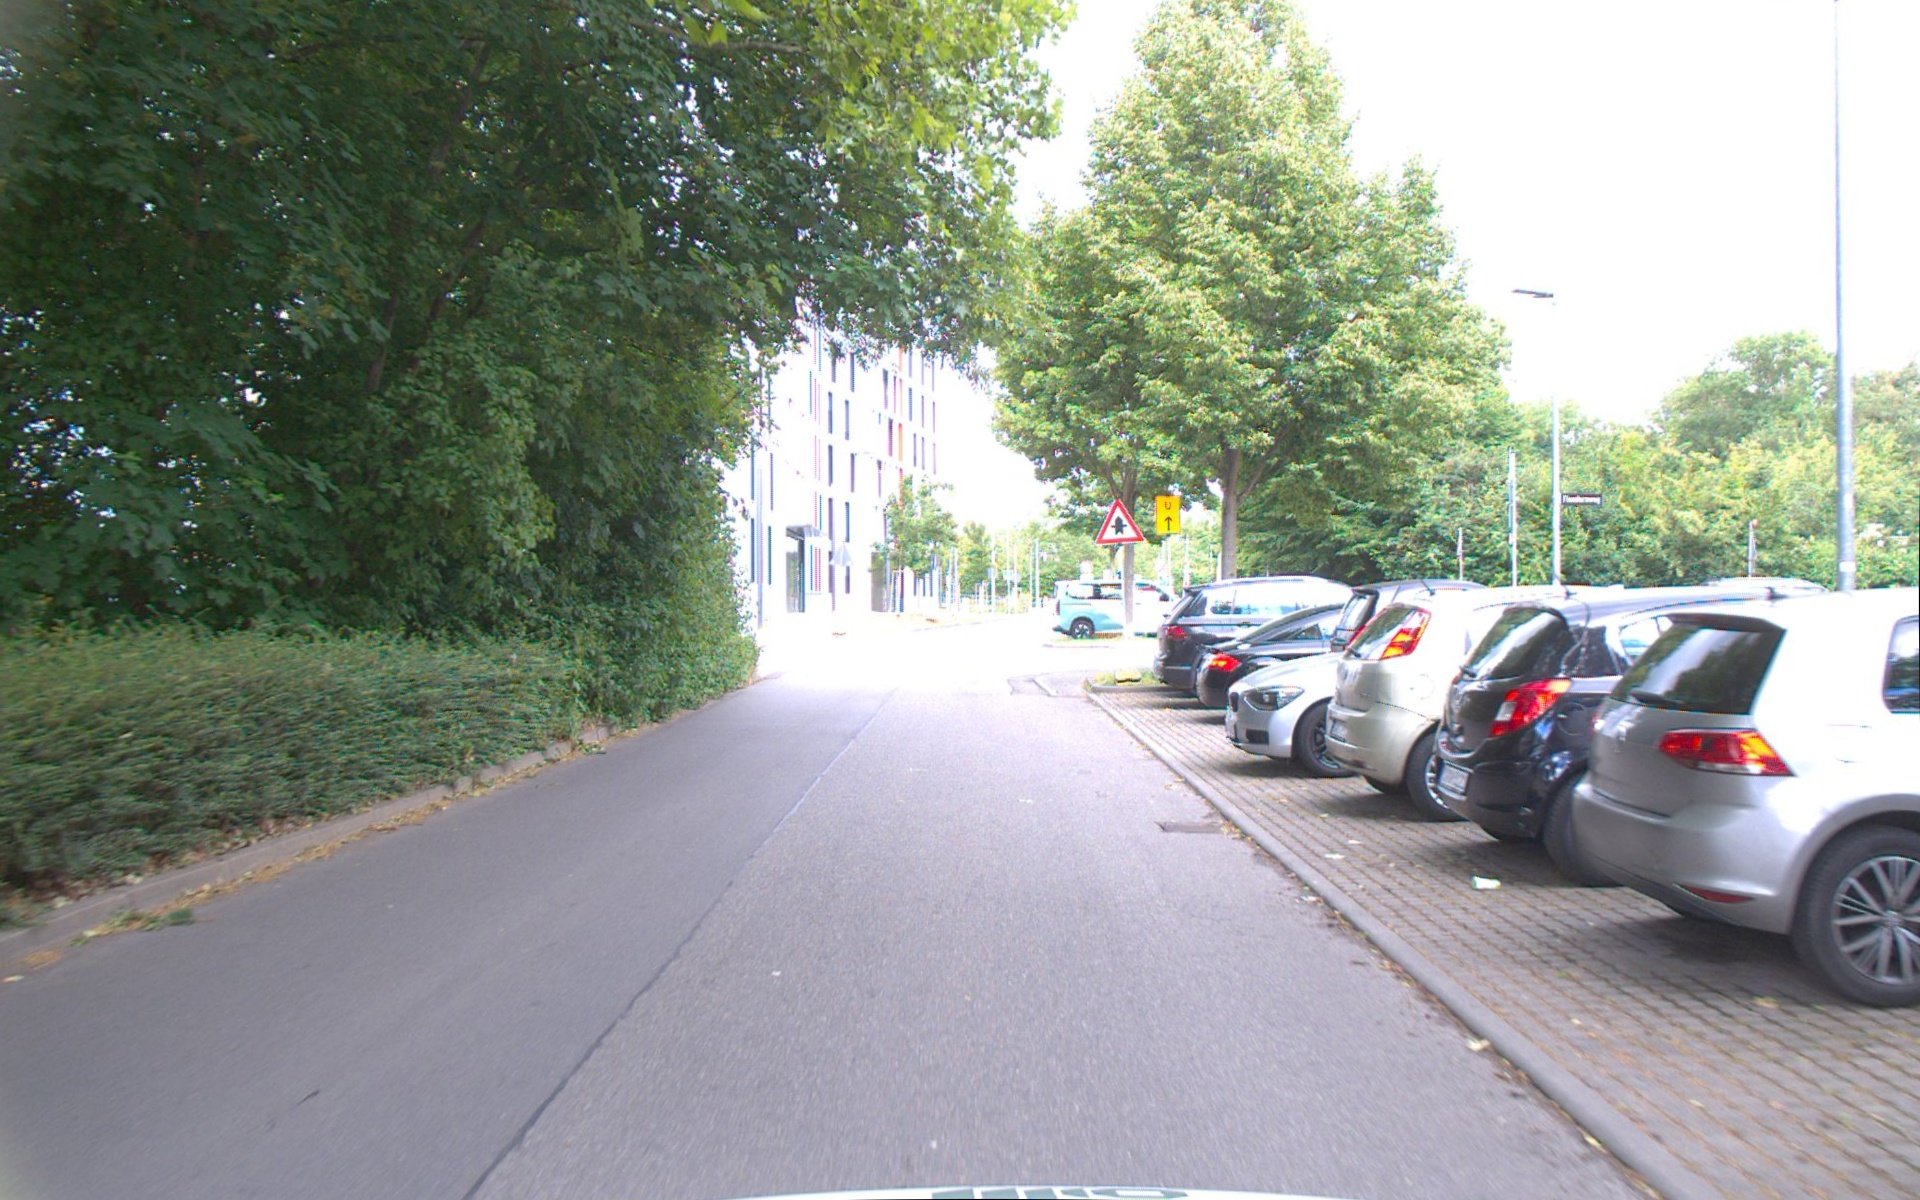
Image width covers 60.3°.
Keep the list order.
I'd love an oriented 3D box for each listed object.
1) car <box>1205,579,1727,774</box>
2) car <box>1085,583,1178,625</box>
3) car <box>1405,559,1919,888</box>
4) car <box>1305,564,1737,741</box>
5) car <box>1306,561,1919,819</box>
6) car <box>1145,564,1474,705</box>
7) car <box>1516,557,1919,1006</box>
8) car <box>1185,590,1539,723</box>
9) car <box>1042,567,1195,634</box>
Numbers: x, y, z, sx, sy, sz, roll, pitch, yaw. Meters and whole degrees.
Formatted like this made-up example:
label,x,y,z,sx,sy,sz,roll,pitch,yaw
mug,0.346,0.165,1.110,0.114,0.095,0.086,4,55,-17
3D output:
label,x,y,z,sx,sy,sz,roll,pitch,yaw
car,4.229,0.623,14.325,3.905,1.455,1.935,-2,-1,0
car,8.085,0.177,78.201,4.286,1.937,1.938,1,0,5
car,4.621,0.581,9.073,3.878,1.537,1.764,-3,0,3
car,5.610,0.512,16.887,3.754,1.585,1.819,-2,-1,0
car,4.566,0.583,11.564,3.905,1.554,1.811,-2,-1,1
car,4.556,0.456,22.113,4.037,1.679,1.981,-2,-1,4
car,4.503,0.571,6.679,3.879,1.537,1.794,-3,0,1
car,4.606,0.643,19.422,3.751,1.382,1.823,-2,-1,4
car,5.220,0.019,54.887,4.869,2.006,1.847,-2,0,1
